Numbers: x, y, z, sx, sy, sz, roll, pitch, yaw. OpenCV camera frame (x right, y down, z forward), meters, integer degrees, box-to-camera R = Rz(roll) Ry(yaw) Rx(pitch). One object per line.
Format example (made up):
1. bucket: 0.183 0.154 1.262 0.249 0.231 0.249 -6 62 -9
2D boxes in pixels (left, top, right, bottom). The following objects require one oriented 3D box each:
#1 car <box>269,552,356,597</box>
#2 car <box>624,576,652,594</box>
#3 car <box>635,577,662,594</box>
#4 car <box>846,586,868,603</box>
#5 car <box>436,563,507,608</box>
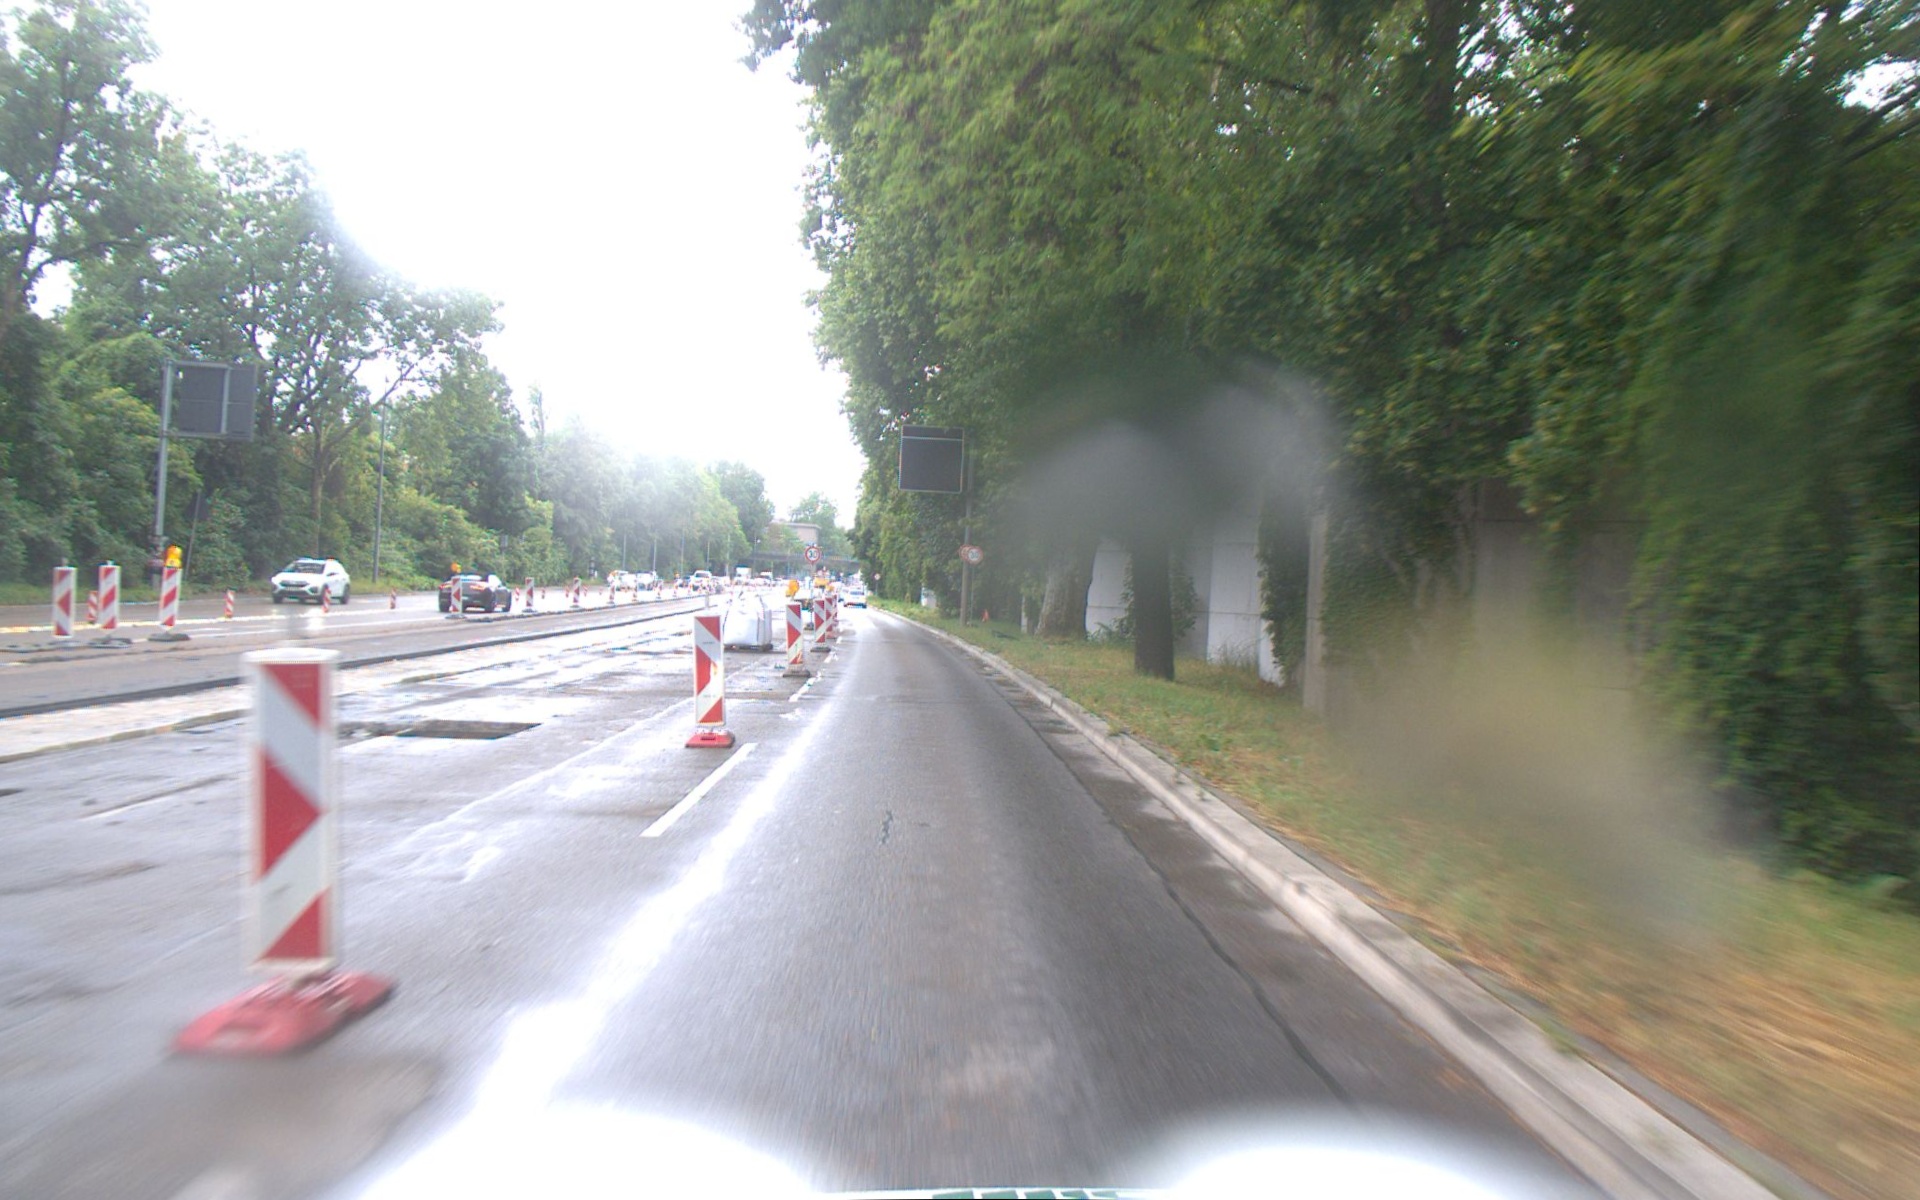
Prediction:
1. car: -23.061 -0.899 59.084 1.633 1.568 4.155 0 0 -3
2. car: -26.006 -1.207 133.695 1.782 1.379 4.386 1 1 -5
3. car: -26.460 -1.266 140.651 1.782 1.379 4.201 1 1 -5
4. car: -8.292 -0.467 132.709 1.664 1.359 3.488 1 0 -5
5. car: -17.231 -0.519 58.487 1.576 1.428 4.037 3 0 -5
